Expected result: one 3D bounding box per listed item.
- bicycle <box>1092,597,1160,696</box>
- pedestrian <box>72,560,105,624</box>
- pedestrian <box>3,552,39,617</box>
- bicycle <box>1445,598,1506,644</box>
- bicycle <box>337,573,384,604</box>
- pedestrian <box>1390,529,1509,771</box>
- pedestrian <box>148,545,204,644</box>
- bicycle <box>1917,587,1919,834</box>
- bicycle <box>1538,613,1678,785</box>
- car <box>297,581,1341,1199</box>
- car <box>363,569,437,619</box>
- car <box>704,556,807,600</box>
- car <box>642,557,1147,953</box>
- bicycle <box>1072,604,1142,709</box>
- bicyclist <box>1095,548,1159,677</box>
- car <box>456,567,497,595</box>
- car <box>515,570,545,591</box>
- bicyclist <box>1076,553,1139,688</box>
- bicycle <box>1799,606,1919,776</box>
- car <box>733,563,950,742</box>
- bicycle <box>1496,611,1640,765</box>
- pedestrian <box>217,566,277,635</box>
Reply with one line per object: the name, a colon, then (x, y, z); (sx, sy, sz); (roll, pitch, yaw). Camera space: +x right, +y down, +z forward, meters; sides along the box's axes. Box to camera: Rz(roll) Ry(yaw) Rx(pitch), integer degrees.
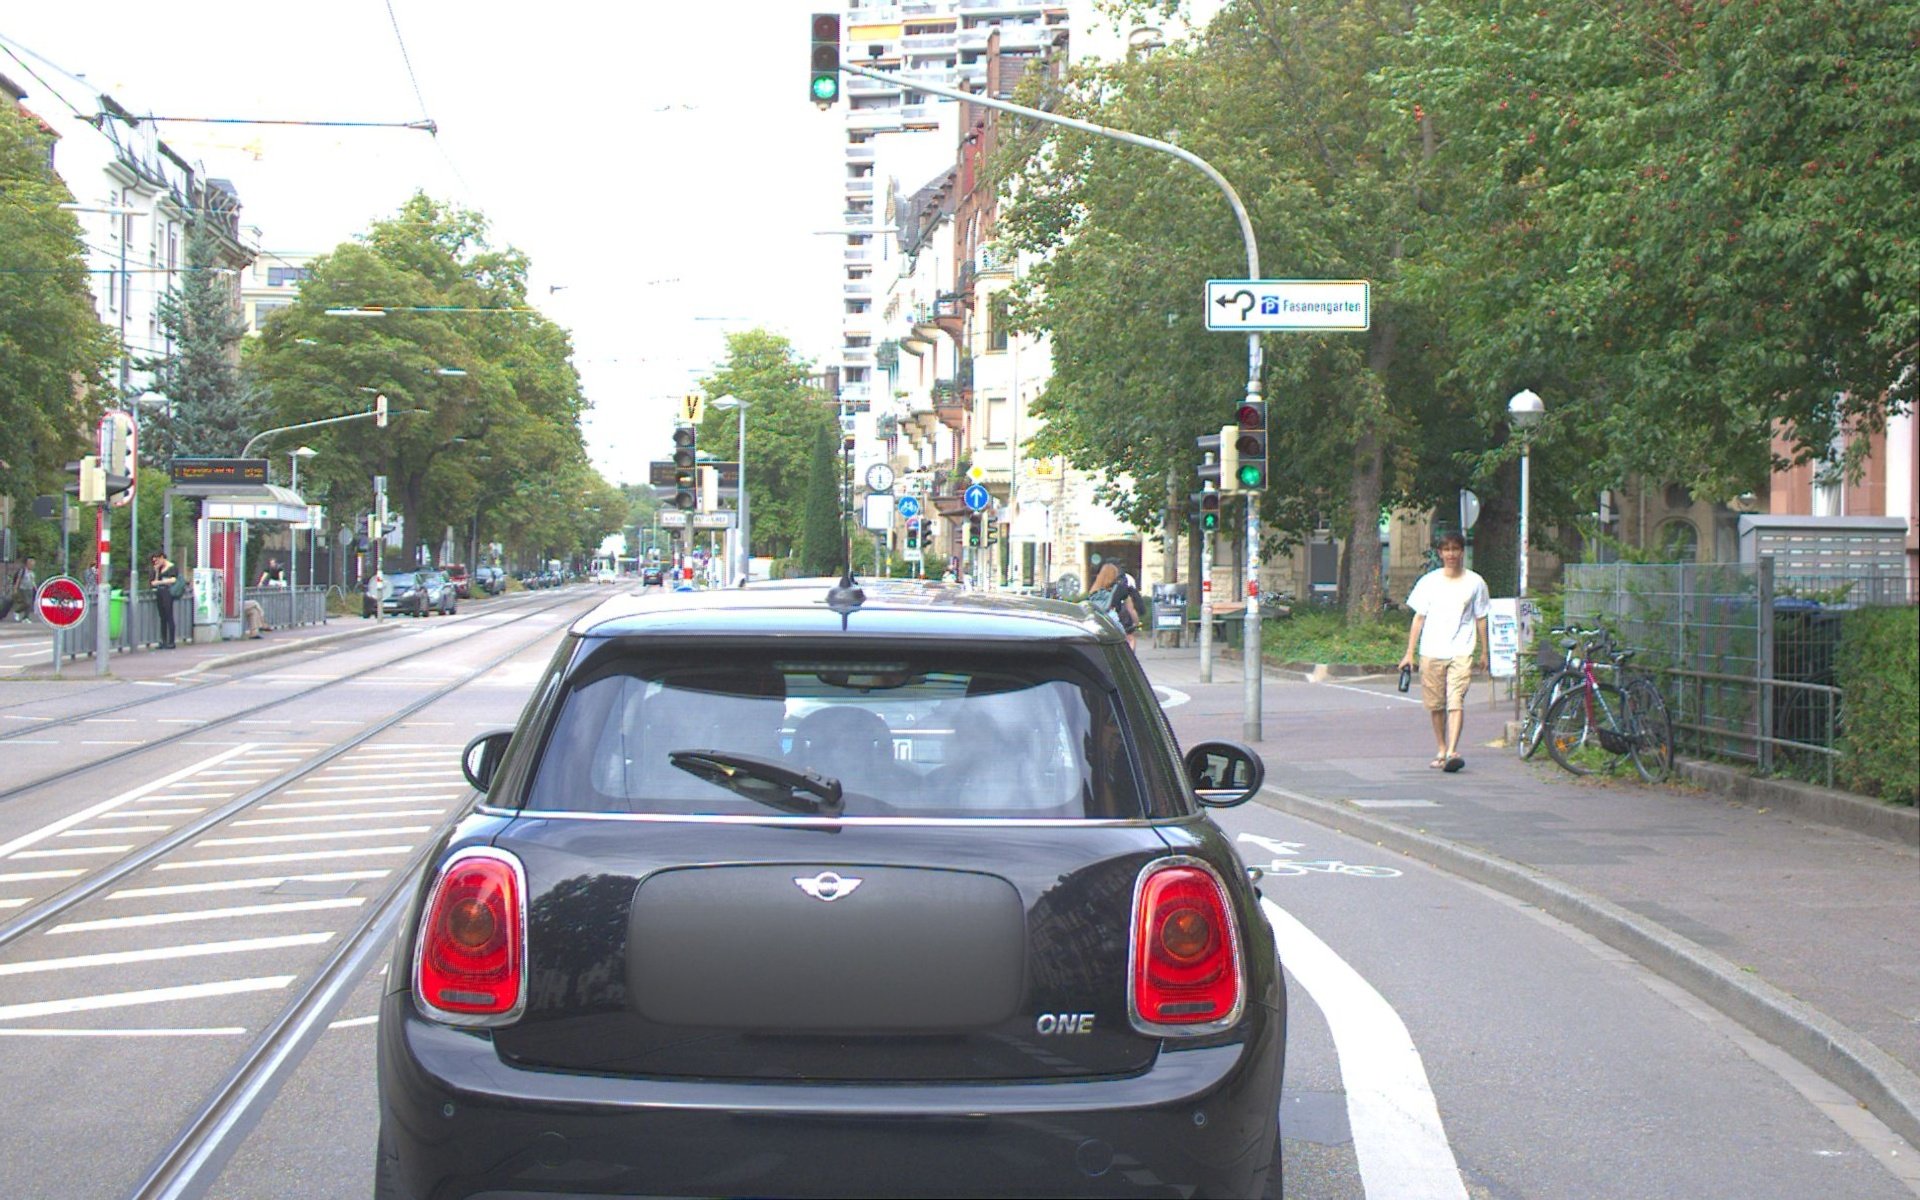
bicycle: (2.039, 0.563, 42.412); (0.684, 1.166, 1.697); (0, 1, -2)
pedestrian: (-23.269, -0.218, 91.779); (0.694, 1.713, 0.758); (1, 0, -3)
pedestrian: (-24.986, -0.414, 91.508); (0.832, 1.697, 0.733); (1, 0, -10)
bicycle: (12.854, 0.530, 85.697); (0.667, 1.124, 1.889); (1, 0, 38)
bicycle: (-22.211, -0.434, 127.319); (1.667, 1.115, 0.572); (0, 1, -44)
pedestrian: (3.614, 0.356, 25.438); (0.730, 1.748, 0.950); (1, 1, 0)
pedestrian: (-12.962, -0.093, 56.848); (0.851, 1.615, 0.843); (1, 0, -10)
bicycle: (5.265, 0.584, 17.083); (0.516, 1.277, 1.550); (0, 1, -2)
bicycle: (4.389, 0.654, 23.366); (0.508, 1.085, 1.550); (-3, 1, -4)
car: (-0.273, 0.691, 7.810); (1.751, 1.436, 4.000); (1, 0, -1)
car: (-17.142, -0.185, 105.354); (1.751, 1.436, 4.000); (2, 0, -3)
car: (-10.692, -1.137, 179.947); (5.026, 2.265, 2.395); (0, 1, -45)
car: (-0.284, 0.583, 15.210); (1.927, 1.505, 4.000); (1, 0, -1)
bicycle: (1.694, 0.638, 39.772); (0.598, 1.166, 1.697); (0, 1, -4)
bicyclist: (2.052, 0.146, 42.353); (0.684, 1.558, 0.998); (0, 1, -2)
car: (-27.599, -1.079, 196.308); (1.993, 1.547, 4.001); (1, 0, -4)
car: (-32.384, -1.445, 259.064); (1.993, 1.547, 4.001); (1, 0, -4)
bicyclist: (1.704, 0.228, 39.765); (0.594, 1.545, 1.014); (0, 1, -4)
bicycle: (5.912, 0.546, 20.785); (1.544, 1.005, 0.510); (0, 1, -6)
car: (-1.050, 0.412, 30.199); (1.751, 1.436, 4.480); (1, 0, -2)
bicycle: (4.599, 0.648, 26.110); (0.671, 1.102, 1.672); (0, 1, -4)
pedestrian: (-13.429, 0.004, 64.812); (1.058, 1.289, 0.986); (1, 0, -10)
